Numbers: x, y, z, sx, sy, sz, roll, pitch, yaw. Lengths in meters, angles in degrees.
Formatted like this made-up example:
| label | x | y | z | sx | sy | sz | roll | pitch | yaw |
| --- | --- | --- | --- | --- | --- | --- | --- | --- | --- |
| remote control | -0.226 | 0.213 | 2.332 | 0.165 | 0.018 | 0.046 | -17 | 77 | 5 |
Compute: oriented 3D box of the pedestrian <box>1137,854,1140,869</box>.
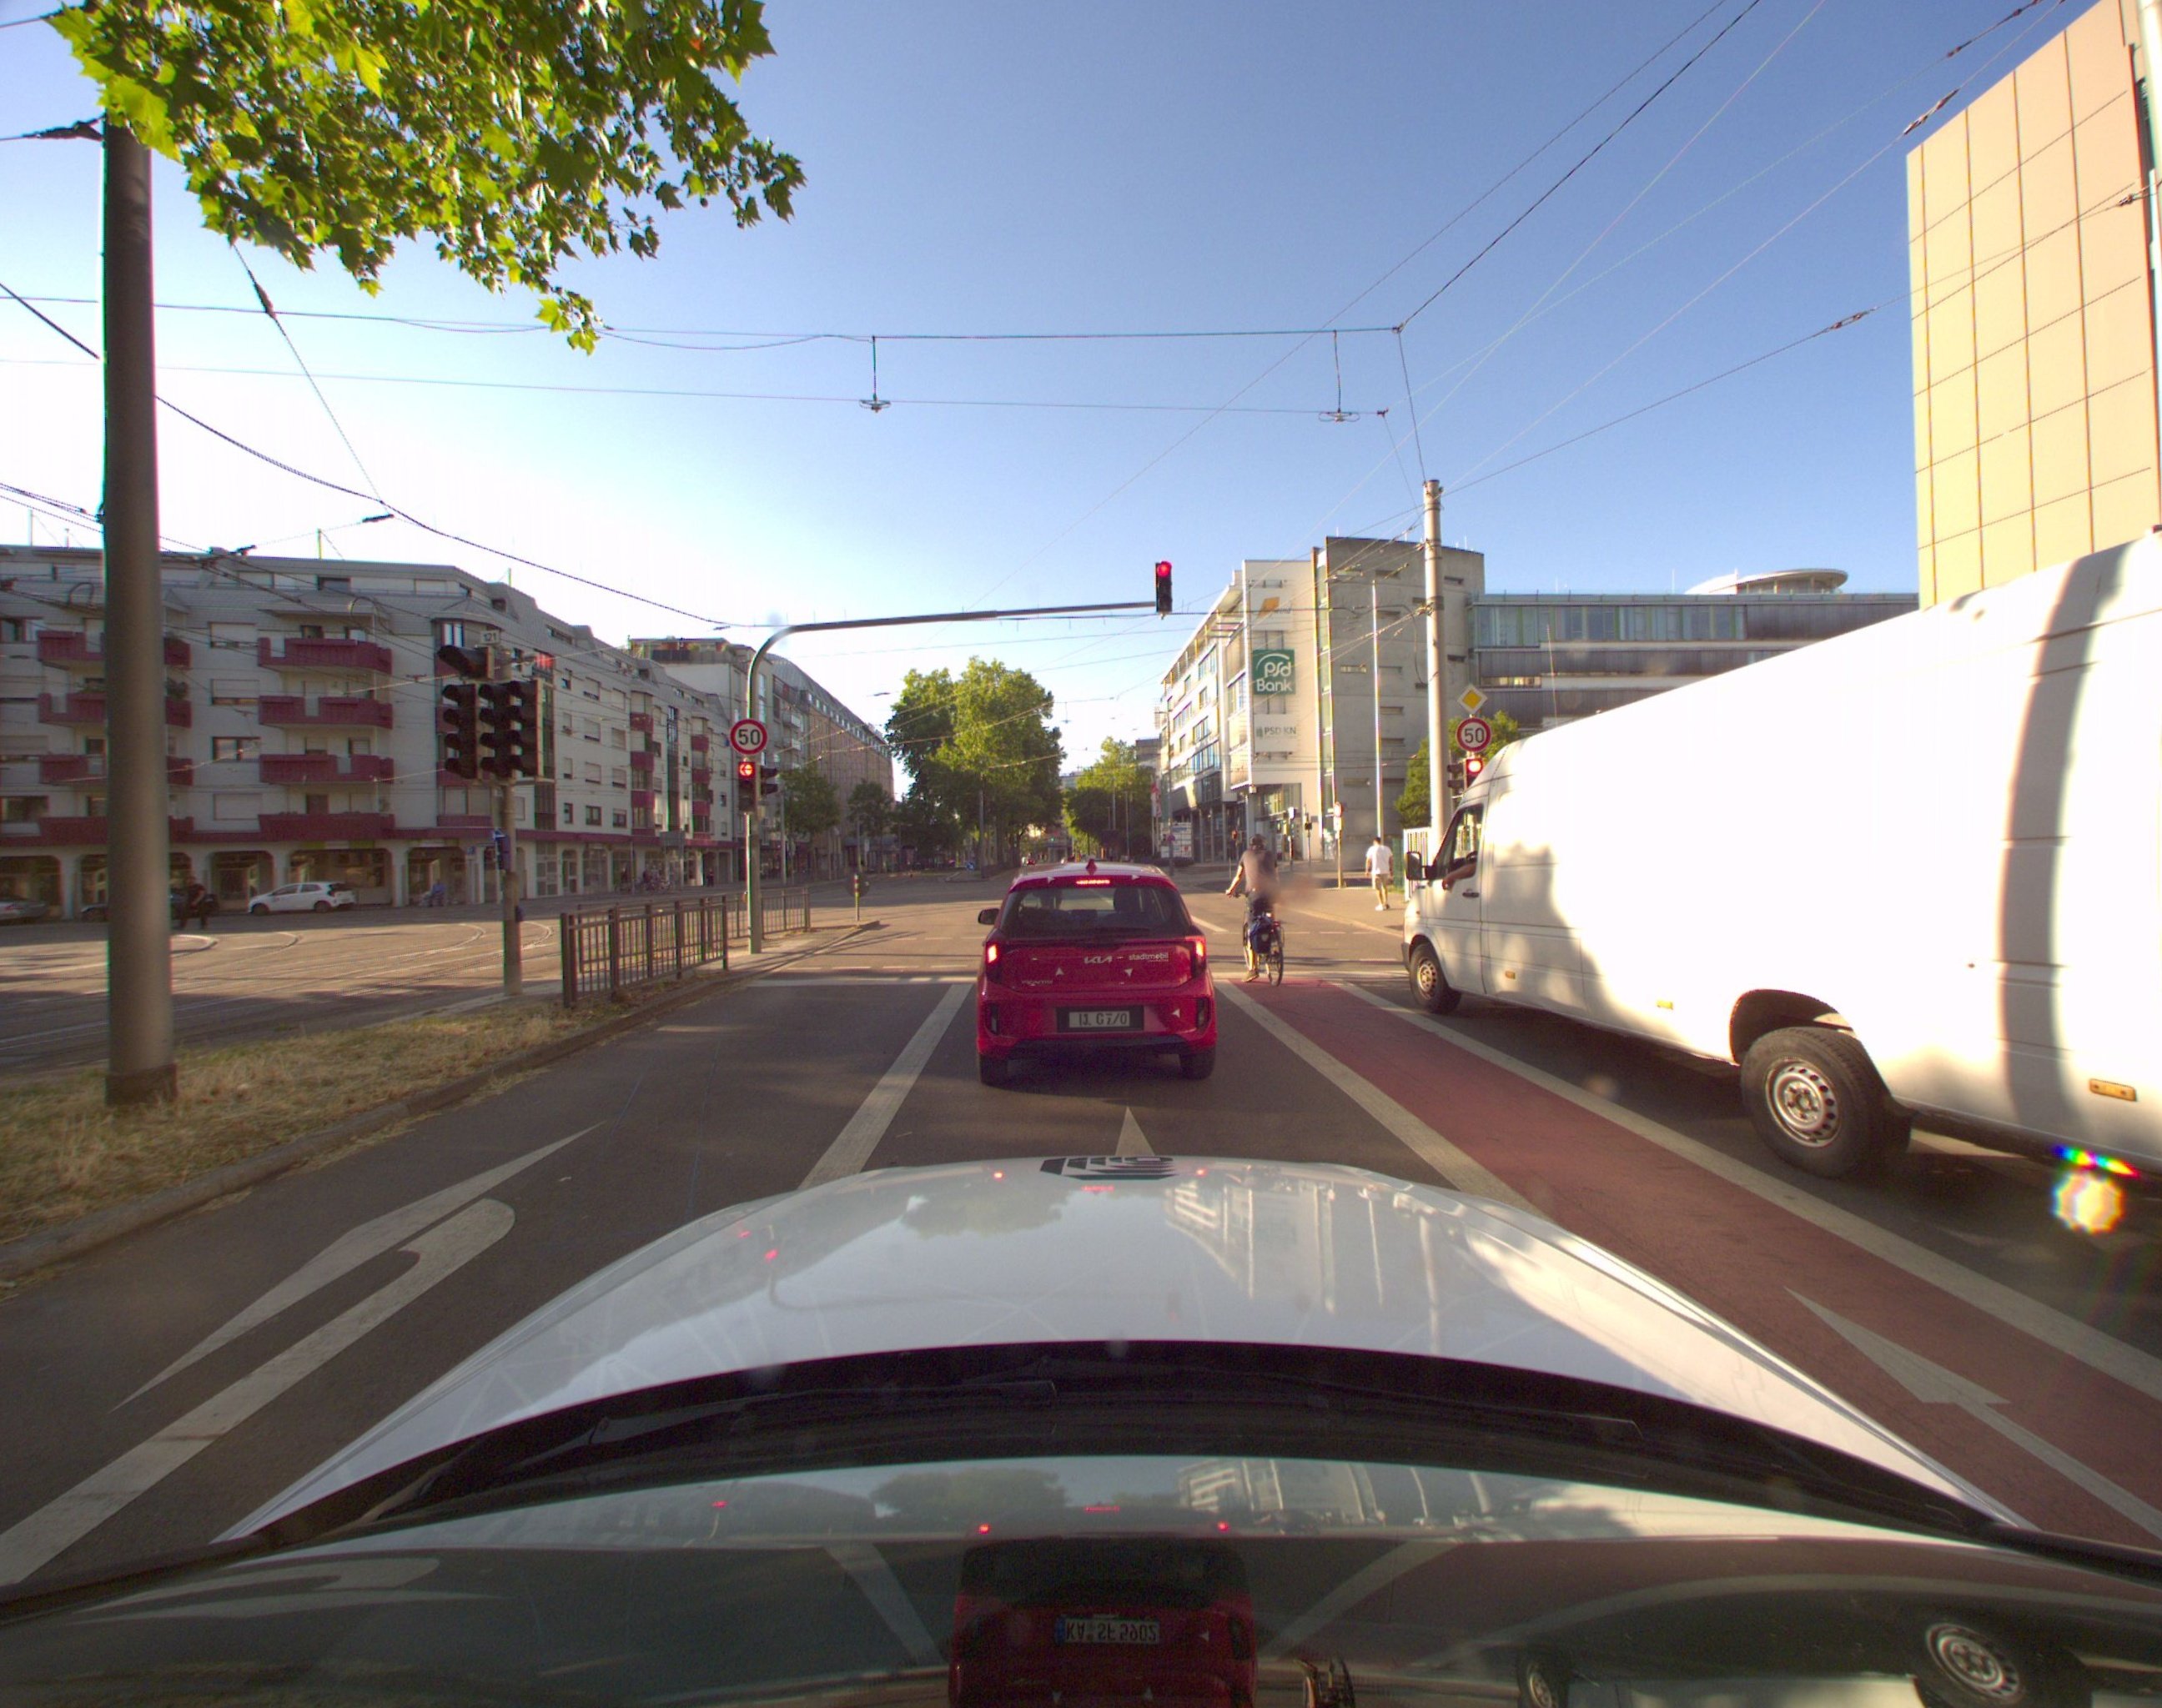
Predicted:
| label | x | y | z | sx | sy | sz | roll | pitch | yaw |
| --- | --- | --- | --- | --- | --- | --- | --- | --- | --- |
| pedestrian | 5.939 | 0.737 | 84.146 | 0.293 | 1.562 | 0.314 | -2 | 0 | 2 |

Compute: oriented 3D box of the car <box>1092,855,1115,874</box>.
| label | x | y | z | sx | sy | sz | roll | pitch | yaw |
| --- | --- | --- | --- | --- | --- | --- | --- | --- | --- |
| car | 1.979 | 0.918 | 73.202 | 1.838 | 1.568 | 4.272 | -2 | 0 | 0 |

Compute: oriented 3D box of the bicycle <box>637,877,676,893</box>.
| label | x | y | z | sx | sy | sz | roll | pitch | yaw |
| --- | --- | --- | --- | --- | --- | --- | --- | --- | --- |
| bicycle | -27.877 | 2.025 | 53.497 | 2.167 | 0.951 | 0.491 | -2 | 0 | -7 |

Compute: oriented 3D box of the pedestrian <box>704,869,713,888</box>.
| label | x | y | z | sx | sy | sz | roll | pitch | yaw |
| --- | --- | --- | --- | --- | --- | --- | --- | --- | --- |
| pedestrian | -29.589 | 1.964 | 64.751 | 0.511 | 1.459 | 0.525 | -2 | 0 | -16 |

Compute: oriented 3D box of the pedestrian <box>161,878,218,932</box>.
| label | x | y | z | sx | sy | sz | roll | pitch | yaw |
| --- | --- | --- | --- | --- | --- | --- | --- | --- | --- |
| pedestrian | -29.071 | 1.636 | 26.574 | 0.708 | 1.662 | 1.031 | -2 | 0 | -8 |

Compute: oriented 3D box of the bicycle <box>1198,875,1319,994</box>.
| label | x | y | z | sx | sy | sz | roll | pitch | yaw |
| --- | --- | --- | --- | --- | --- | --- | --- | --- | --- |
| bicycle | 2.104 | 0.911 | 10.006 | 0.743 | 1.224 | 2.149 | 0 | 0 | -9 |

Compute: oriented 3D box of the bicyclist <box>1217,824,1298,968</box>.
| label | x | y | z | sx | sy | sz | roll | pitch | yaw |
| --- | --- | --- | --- | --- | --- | --- | --- | --- | --- |
| bicyclist | 2.119 | 0.485 | 9.859 | 0.743 | 1.669 | 0.742 | 0 | 0 | -9 |

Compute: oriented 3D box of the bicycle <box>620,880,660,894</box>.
| label | x | y | z | sx | sy | sz | roll | pitch | yaw |
| --- | --- | --- | --- | --- | --- | --- | --- | --- | --- |
| bicycle | -27.866 | 2.080 | 51.494 | 2.167 | 0.787 | 0.491 | -2 | 0 | -7 |

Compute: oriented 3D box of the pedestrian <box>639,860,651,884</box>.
| label | x | y | z | sx | sy | sz | roll | pitch | yaw |
| --- | --- | --- | --- | --- | --- | --- | --- | --- | --- |
| pedestrian | -31.347 | 1.295 | 58.582 | 0.509 | 1.699 | 0.527 | -2 | 0 | -5 |

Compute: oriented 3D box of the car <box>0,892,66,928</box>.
| label | x | y | z | sx | sy | sz | roll | pitch | yaw |
| --- | --- | --- | --- | --- | --- | --- | --- | --- | --- |
| car | -48.457 | 2.547 | 35.985 | 4.263 | 1.464 | 1.793 | -3 | 0 | -14 |

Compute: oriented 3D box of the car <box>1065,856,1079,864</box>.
| label | x | y | z | sx | sy | sz | roll | pitch | yaw |
| --- | --- | --- | --- | --- | --- | --- | --- | --- | --- |
| car | -1.938 | 1.176 | 167.633 | 2.474 | 1.528 | 4.424 | -3 | 0 | -5 |

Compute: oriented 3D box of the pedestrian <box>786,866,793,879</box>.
| label | x | y | z | sx | sy | sz | roll | pitch | yaw |
| --- | --- | --- | --- | --- | --- | --- | --- | --- | --- |
| pedestrian | -31.973 | 2.026 | 89.401 | 0.509 | 1.459 | 0.527 | -2 | 0 | -5 |

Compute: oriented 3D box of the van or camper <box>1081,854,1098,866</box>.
| label | x | y | z | sx | sy | sz | roll | pitch | yaw |
| --- | --- | --- | --- | --- | --- | --- | --- | --- | --- |
| van or camper | 1.401 | 0.955 | 132.288 | 2.143 | 1.750 | 4.422 | -3 | 0 | -6 |

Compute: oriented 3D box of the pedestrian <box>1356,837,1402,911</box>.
| label | x | y | z | sx | sy | sz | roll | pitch | yaw |
| --- | --- | --- | --- | --- | --- | --- | --- | --- | --- |
| pedestrian | 7.285 | 0.477 | 19.947 | 0.783 | 1.748 | 0.772 | -2 | 0 | 2 |

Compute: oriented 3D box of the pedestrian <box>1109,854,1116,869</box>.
| label | x | y | z | sx | sy | sz | roll | pitch | yaw |
| --- | --- | --- | --- | --- | --- | --- | --- | --- | --- |
| pedestrian | 3.867 | 0.924 | 98.966 | 0.740 | 1.716 | 0.748 | -2 | 0 | 0 |

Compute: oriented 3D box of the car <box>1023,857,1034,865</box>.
| label | x | y | z | sx | sy | sz | roll | pitch | yaw |
| --- | --- | --- | --- | --- | --- | --- | --- | --- | --- |
| car | -11.342 | 1.476 | 175.751 | 2.056 | 1.654 | 3.482 | -2 | 0 | -8 |

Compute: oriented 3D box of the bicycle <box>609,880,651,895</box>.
| label | x | y | z | sx | sy | sz | roll | pitch | yaw |
| --- | --- | --- | --- | --- | --- | --- | --- | --- | --- |
| bicycle | -28.081 | 2.079 | 50.719 | 2.167 | 0.787 | 0.639 | -2 | 0 | -7 |

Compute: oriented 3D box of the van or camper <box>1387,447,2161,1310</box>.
| label | x | y | z | sx | sy | sz | roll | pitch | yaw |
| --- | --- | --- | --- | --- | --- | --- | --- | --- | --- |
| van or camper | 4.458 | 0.086 | 5.438 | 2.263 | 2.733 | 6.341 | 1 | 0 | -2 |

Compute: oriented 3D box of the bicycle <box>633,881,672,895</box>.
| label | x | y | z | sx | sy | sz | roll | pitch | yaw |
| --- | --- | --- | --- | --- | --- | --- | --- | --- | --- |
| bicycle | -27.793 | 2.206 | 52.856 | 2.167 | 0.824 | 0.526 | -2 | 0 | -7 |

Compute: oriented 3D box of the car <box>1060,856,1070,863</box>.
| label | x | y | z | sx | sy | sz | roll | pitch | yaw |
| --- | --- | --- | --- | --- | --- | --- | --- | --- | --- |
| car | -3.616 | 1.312 | 184.213 | 1.882 | 1.528 | 4.422 | -3 | 0 | -6 |

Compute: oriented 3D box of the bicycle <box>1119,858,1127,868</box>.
| label | x | y | z | sx | sy | sz | roll | pitch | yaw |
| --- | --- | --- | --- | --- | --- | --- | --- | --- | --- |
| bicycle | 4.892 | 1.041 | 94.191 | 0.790 | 1.161 | 2.499 | -2 | 0 | 0 |

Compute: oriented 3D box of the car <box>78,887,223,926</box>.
| label | x | y | z | sx | sy | sz | roll | pitch | yaw |
| --- | --- | --- | --- | --- | --- | --- | --- | --- | --- |
| car | -42.420 | 2.365 | 37.233 | 3.995 | 1.464 | 1.792 | -3 | 0 | -16 |

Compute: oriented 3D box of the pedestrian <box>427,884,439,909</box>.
| label | x | y | z | sx | sy | sz | roll | pitch | yaw |
| --- | --- | --- | --- | --- | --- | --- | --- | --- | --- |
| pedestrian | -32.426 | 2.109 | 40.757 | 0.303 | 1.214 | 0.318 | -2 | 0 | -8 |

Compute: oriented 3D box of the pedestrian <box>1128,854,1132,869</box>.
| label | x | y | z | sx | sy | sz | roll | pitch | yaw |
| --- | --- | --- | --- | --- | --- | --- | --- | --- | --- |
| pedestrian | 5.095 | 0.760 | 85.063 | 0.293 | 1.562 | 0.356 | -2 | 0 | -1 |

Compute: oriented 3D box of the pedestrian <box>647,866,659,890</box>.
| label | x | y | z | sx | sy | sz | roll | pitch | yaw |
| --- | --- | --- | --- | --- | --- | --- | --- | --- | --- |
| pedestrian | -30.758 | 1.724 | 58.556 | 0.509 | 1.699 | 0.527 | -2 | 0 | -5 |

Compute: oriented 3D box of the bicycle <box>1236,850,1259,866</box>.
| label | x | y | z | sx | sy | sz | roll | pitch | yaw |
| --- | --- | --- | --- | --- | --- | --- | --- | --- | --- |
| bicycle | 15.273 | 0.369 | 74.795 | 1.931 | 1.443 | 0.574 | -2 | 0 | -5 |

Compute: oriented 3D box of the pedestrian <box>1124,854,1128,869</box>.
| label | x | y | z | sx | sy | sz | roll | pitch | yaw |
| --- | --- | --- | --- | --- | --- | --- | --- | --- | --- |
| pedestrian | 4.701 | 0.767 | 85.012 | 0.293 | 1.562 | 0.302 | -2 | 0 | -1 |

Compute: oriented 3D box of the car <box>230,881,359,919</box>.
| label | x | y | z | sx | sy | sz | roll | pitch | yaw |
| --- | --- | --- | --- | --- | --- | --- | --- | --- | --- |
| car | -37.213 | 2.144 | 38.646 | 3.994 | 1.464 | 1.792 | -3 | 0 | -15 |

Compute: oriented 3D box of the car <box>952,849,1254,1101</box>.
| label | x | y | z | sx | sy | sz | roll | pitch | yaw |
| --- | --- | --- | --- | --- | --- | --- | --- | --- | --- |
| car | 0.059 | 0.742 | 6.905 | 1.835 | 1.489 | 3.712 | -2 | 0 | -3 |
